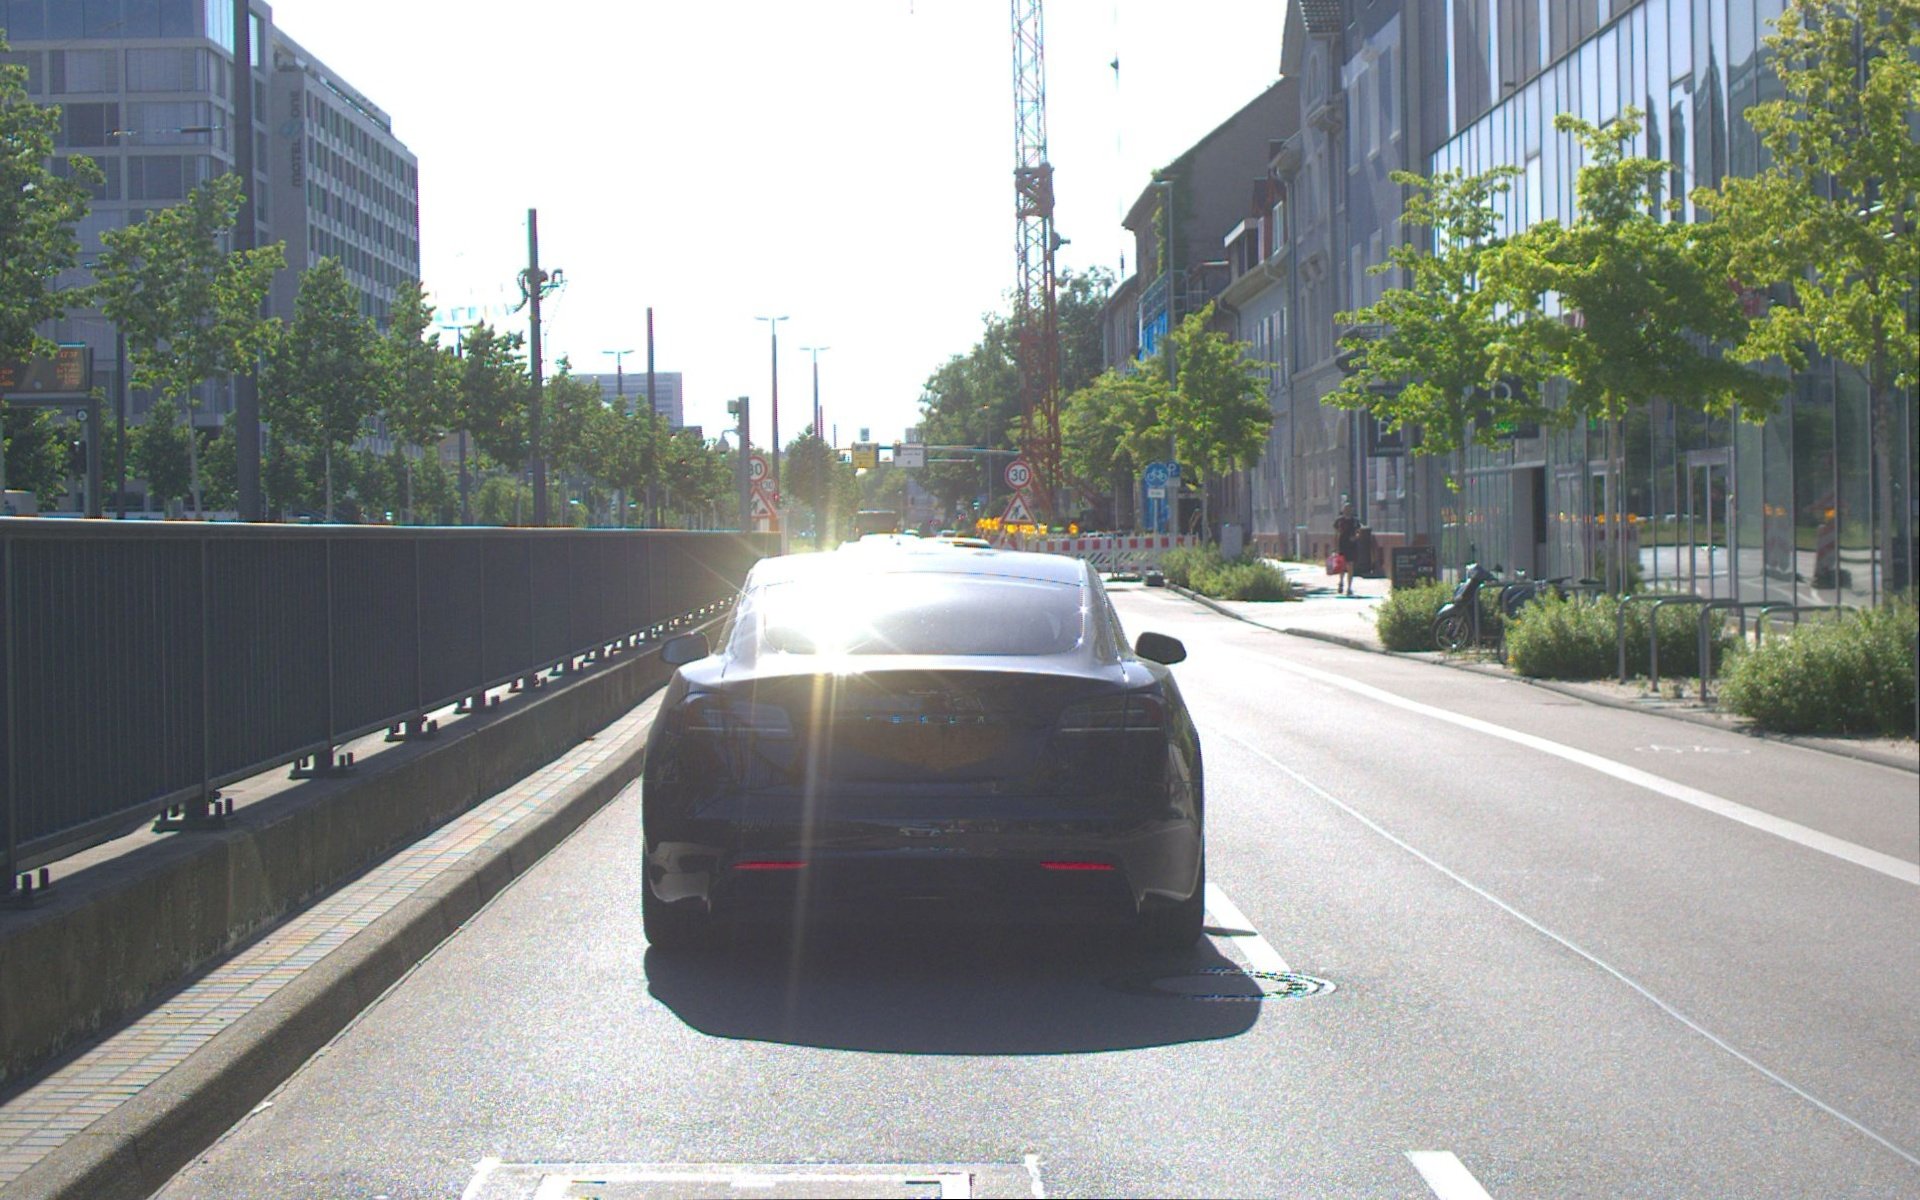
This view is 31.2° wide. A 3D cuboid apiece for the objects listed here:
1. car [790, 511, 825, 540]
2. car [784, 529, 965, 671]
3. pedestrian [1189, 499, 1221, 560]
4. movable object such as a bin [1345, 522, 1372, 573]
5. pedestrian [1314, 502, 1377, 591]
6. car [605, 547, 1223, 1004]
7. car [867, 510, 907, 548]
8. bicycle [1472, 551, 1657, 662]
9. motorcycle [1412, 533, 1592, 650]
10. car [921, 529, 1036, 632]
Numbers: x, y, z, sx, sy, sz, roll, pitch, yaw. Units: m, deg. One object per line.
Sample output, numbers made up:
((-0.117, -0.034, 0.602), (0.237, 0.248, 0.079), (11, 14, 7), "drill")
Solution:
((-9.017, -4.415, 203.371), (1.993, 1.678, 4.000), (1, 1, -2), "car")
((-0.816, -0.038, 34.947), (1.716, 1.315, 4.000), (0, 2, 0), "car")
((7.537, -2.162, 105.779), (0.851, 1.857, 0.930), (-1, 1, -2), "pedestrian")
((9.209, -1.211, 79.475), (0.559, 1.165, 0.562), (1, 1, 3), "movable object such as a bin")
((8.148, -1.134, 72.689), (1.095, 1.857, 1.523), (-1, 1, -2), "pedestrian")
((-0.046, 0.532, 13.322), (1.999, 1.429, 4.412), (0, 1, 3), "car")
((-3.530, -3.448, 167.127), (1.814, 1.803, 4.039), (0, 2, 1), "car")
((6.773, 0.067, 38.523), (1.881, 1.147, 0.672), (-3, 1, -10), "bicycle")
((6.801, -0.105, 43.161), (2.075, 1.349, 0.652), (-3, 1, 23), "motorcycle")
((0.317, -0.344, 55.571), (1.784, 1.540, 4.039), (0, 2, 1), "car")
